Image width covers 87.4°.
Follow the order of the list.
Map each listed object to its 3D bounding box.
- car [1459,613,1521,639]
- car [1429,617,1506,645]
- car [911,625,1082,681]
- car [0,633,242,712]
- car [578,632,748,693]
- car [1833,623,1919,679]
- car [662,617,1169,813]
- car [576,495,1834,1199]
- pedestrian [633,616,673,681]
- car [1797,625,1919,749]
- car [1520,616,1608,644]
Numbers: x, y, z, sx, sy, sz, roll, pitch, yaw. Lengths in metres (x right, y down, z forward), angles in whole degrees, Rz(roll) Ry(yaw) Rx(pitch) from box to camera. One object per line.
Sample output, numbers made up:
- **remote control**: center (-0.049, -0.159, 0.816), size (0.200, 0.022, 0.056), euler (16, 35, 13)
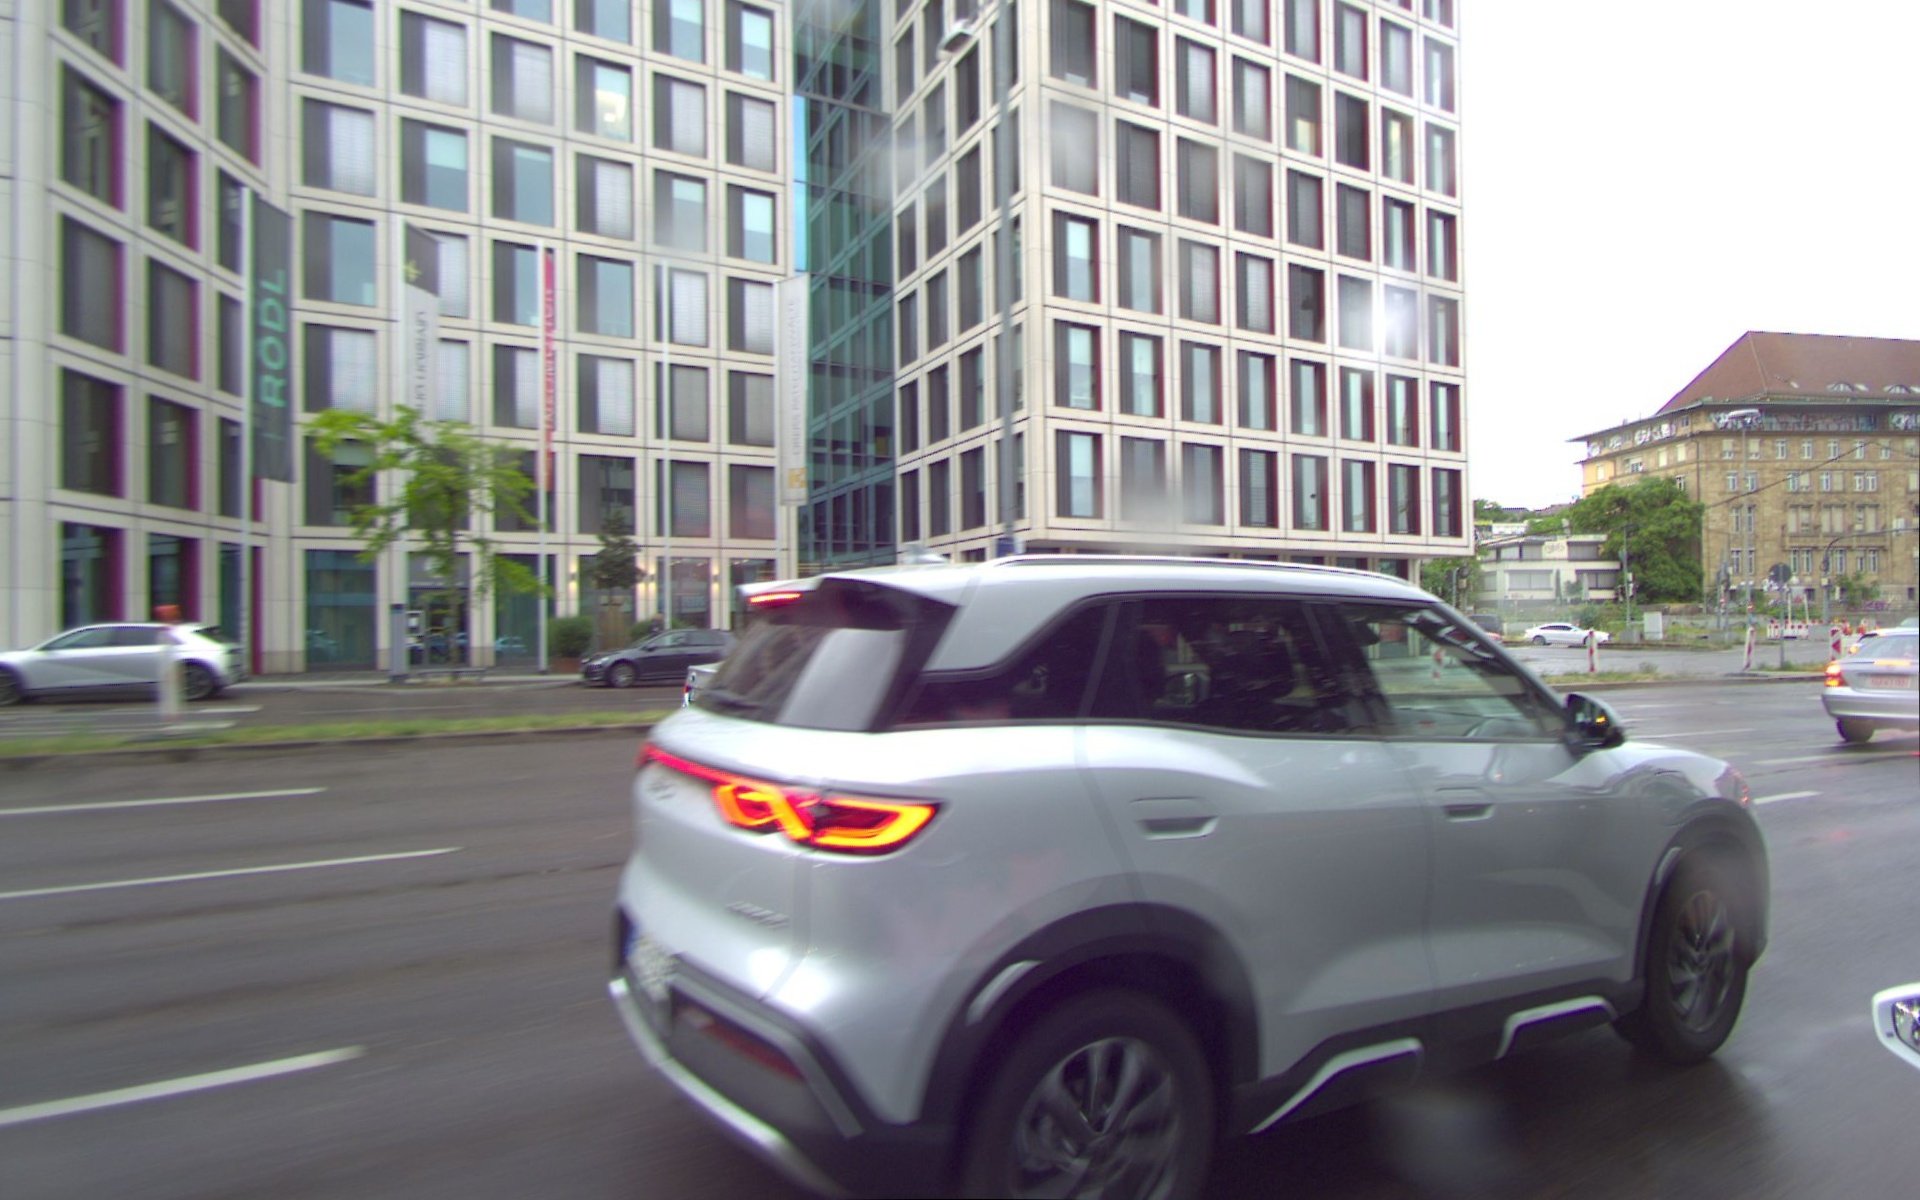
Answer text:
- **car**: center (43.353, 2.122, 82.232), size (4.165, 2.040, 1.989), euler (0, -1, 42)
- **car**: center (30.988, 1.885, 61.382), size (1.655, 1.617, 3.968), euler (1, -1, -30)
- **car**: center (1.160, 1.579, 30.641), size (5.122, 1.590, 1.690), euler (1, -3, -30)
- **car**: center (-17.301, 1.434, 20.337), size (4.322, 1.442, 1.690), euler (1, -3, -30)
- **car**: center (-7.595, 1.568, 25.751), size (3.909, 1.442, 1.690), euler (1, -3, -30)
- **car**: center (25.244, 1.314, 26.536), size (3.936, 1.391, 1.779), euler (1, -1, -23)
- **car**: center (-0.330, 0.957, 9.939), size (4.745, 1.541, 1.822), euler (1, -1, -31)
- **car**: center (1.016, 0.716, 3.438), size (4.122, 1.683, 1.799), euler (1, -1, -31)
- **pedestrian**: center (-8.478, 1.320, 27.743), size (0.955, 1.757, 0.610), euler (1, -1, -28)
- **car**: center (12.948, 1.054, 12.932), size (4.324, 1.422, 1.727), euler (1, -1, -26)
- **car**: center (37.571, 1.831, 62.531), size (4.336, 1.684, 1.988), euler (-1, -1, 45)
